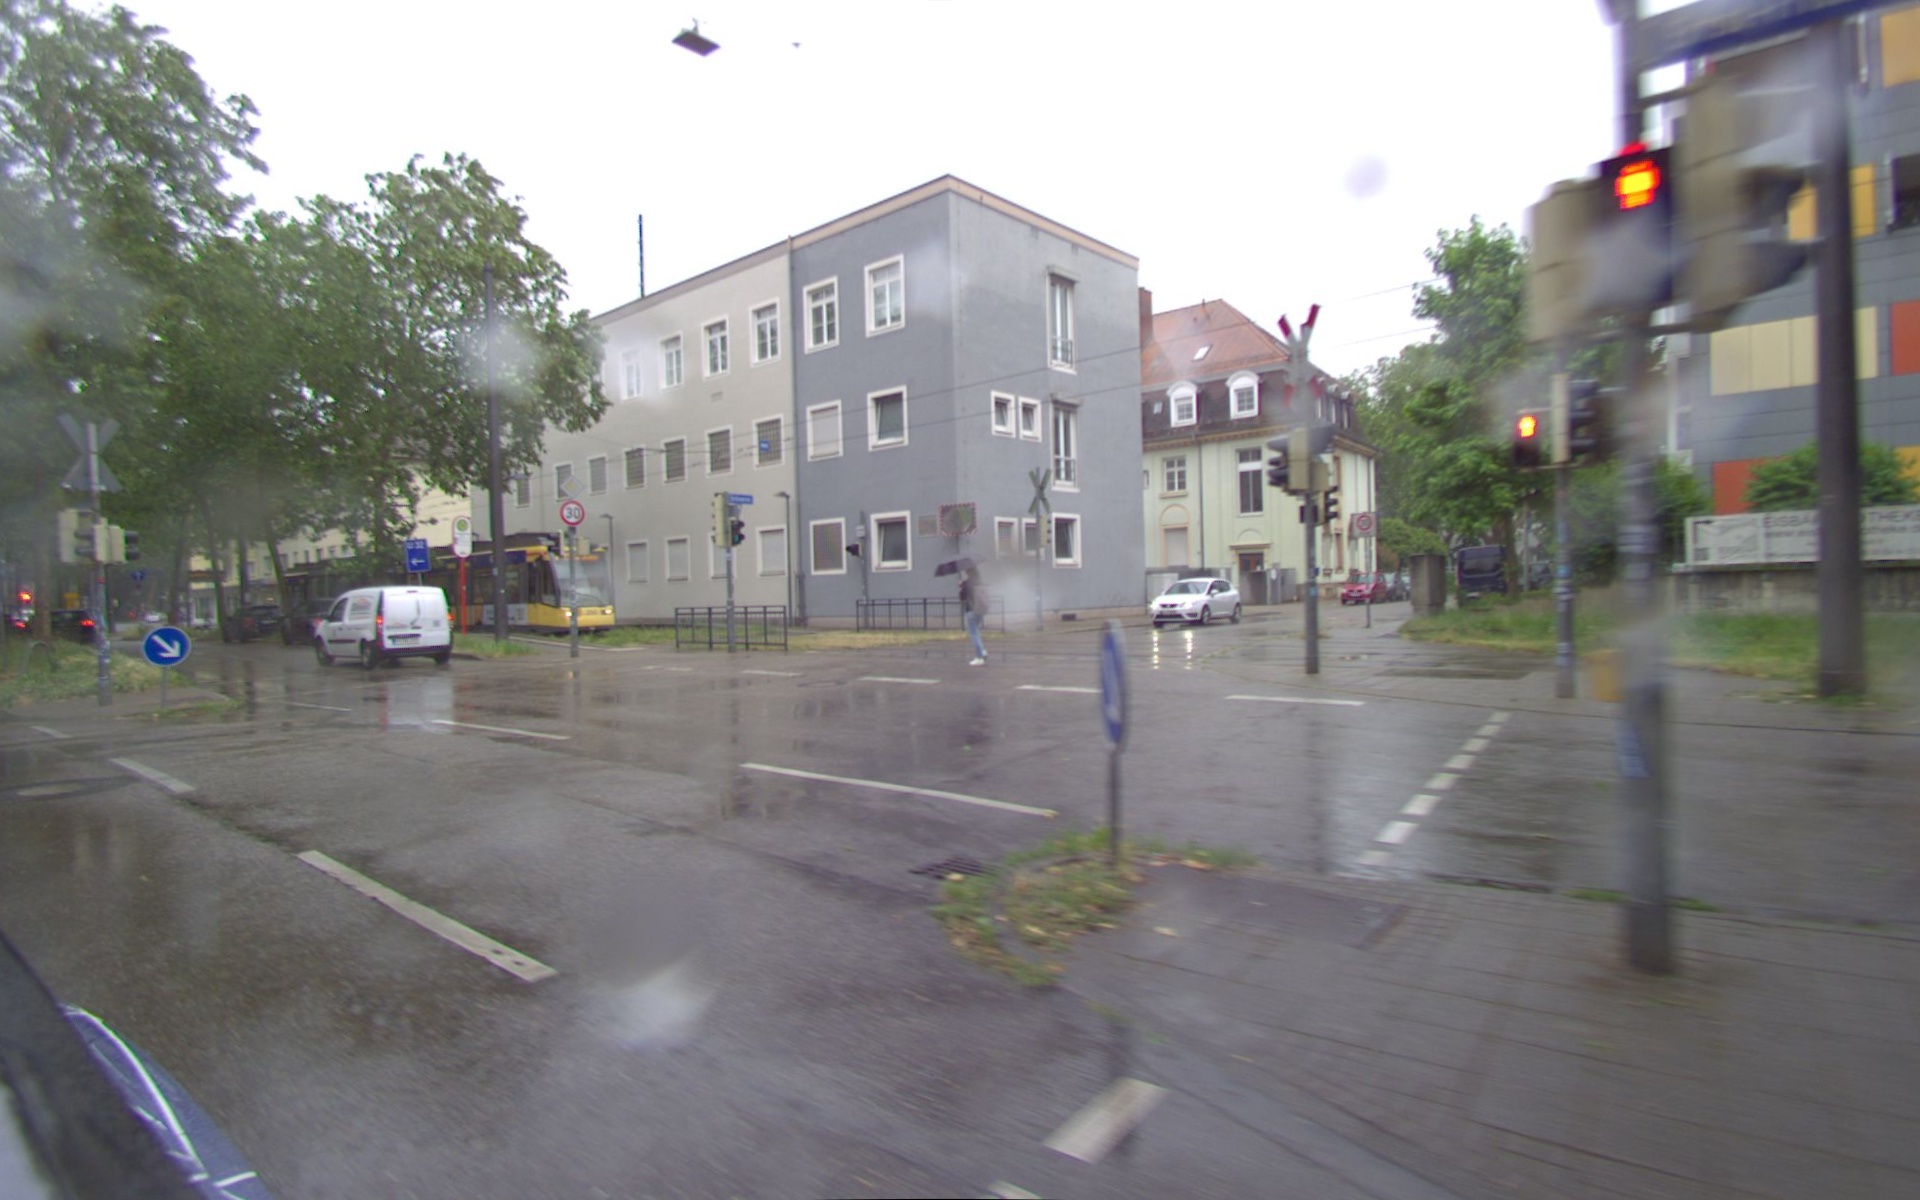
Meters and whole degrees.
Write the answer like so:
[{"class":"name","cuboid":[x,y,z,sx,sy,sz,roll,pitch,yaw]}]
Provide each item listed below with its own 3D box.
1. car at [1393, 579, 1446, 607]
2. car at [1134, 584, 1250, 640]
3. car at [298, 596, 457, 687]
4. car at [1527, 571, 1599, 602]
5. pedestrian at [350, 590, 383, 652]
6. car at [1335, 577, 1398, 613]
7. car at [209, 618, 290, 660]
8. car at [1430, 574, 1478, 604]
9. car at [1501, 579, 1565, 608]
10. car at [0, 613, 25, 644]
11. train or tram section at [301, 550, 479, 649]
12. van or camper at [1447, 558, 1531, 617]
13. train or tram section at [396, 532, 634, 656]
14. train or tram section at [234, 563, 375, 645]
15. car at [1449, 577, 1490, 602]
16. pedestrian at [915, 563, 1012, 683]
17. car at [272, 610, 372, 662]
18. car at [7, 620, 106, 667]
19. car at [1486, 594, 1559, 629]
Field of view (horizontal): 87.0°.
[{"class":"car","cuboid":[26.236,-0.409,57.754,1.863,1.513,3.949,-1,0,38]},{"class":"car","cuboid":[7.184,0.341,31.096,1.886,1.539,4.039,-2,0,38]},{"class":"car","cuboid":[-13.480,0.929,23.355,4.064,1.863,1.912,-2,0,41]},{"class":"car","cuboid":[42.888,-0.949,72.061,1.970,2.029,4.003,-2,0,-44]},{"class":"pedestrian","cuboid":[-18.319,0.636,31.237,0.635,1.869,0.654,-2,0,42]},{"class":"car","cuboid":[20.825,-0.258,51.790,1.997,1.763,3.950,-1,0,37]},{"class":"car","cuboid":[-27.576,1.508,39.262,3.703,1.394,1.655,-2,4,41]},{"class":"car","cuboid":[30.847,-0.715,63.123,1.890,1.794,3.949,-1,0,38]},{"class":"car","cuboid":[28.911,-0.329,50.998,1.999,1.321,3.945,-2,0,41]},{"class":"car","cuboid":[-54.327,1.637,57.310,3.647,1.675,1.655,-2,0,41]},{"class":"train or tram section","cuboid":[-24.220,0.035,42.569,11.548,3.669,2.869,-1,1,42]},{"class":"van or camper","cuboid":[19.623,-0.485,37.474,1.998,2.028,3.949,-1,1,38]},{"class":"train or tram section","cuboid":[-15.640,-0.150,34.834,11.548,3.669,2.869,-1,1,42]},{"class":"train or tram section","cuboid":[-32.801,0.220,50.338,11.548,3.669,2.869,-1,1,42]},{"class":"car","cuboid":[34.174,-0.720,67.855,1.675,1.549,3.949,-1,0,38]},{"class":"pedestrian","cuboid":[0.049,0.348,16.101,1.205,1.813,0.926,-1,0,41]},{"class":"car","cuboid":[-21.445,1.195,33.964,3.972,1.520,1.655,-2,4,41]},{"class":"car","cuboid":[-35.682,1.700,39.919,4.666,1.631,2.037,-2,0,37]},{"class":"car","cuboid":[23.007,0.453,41.309,1.997,1.321,3.949,-2,0,38]}]
